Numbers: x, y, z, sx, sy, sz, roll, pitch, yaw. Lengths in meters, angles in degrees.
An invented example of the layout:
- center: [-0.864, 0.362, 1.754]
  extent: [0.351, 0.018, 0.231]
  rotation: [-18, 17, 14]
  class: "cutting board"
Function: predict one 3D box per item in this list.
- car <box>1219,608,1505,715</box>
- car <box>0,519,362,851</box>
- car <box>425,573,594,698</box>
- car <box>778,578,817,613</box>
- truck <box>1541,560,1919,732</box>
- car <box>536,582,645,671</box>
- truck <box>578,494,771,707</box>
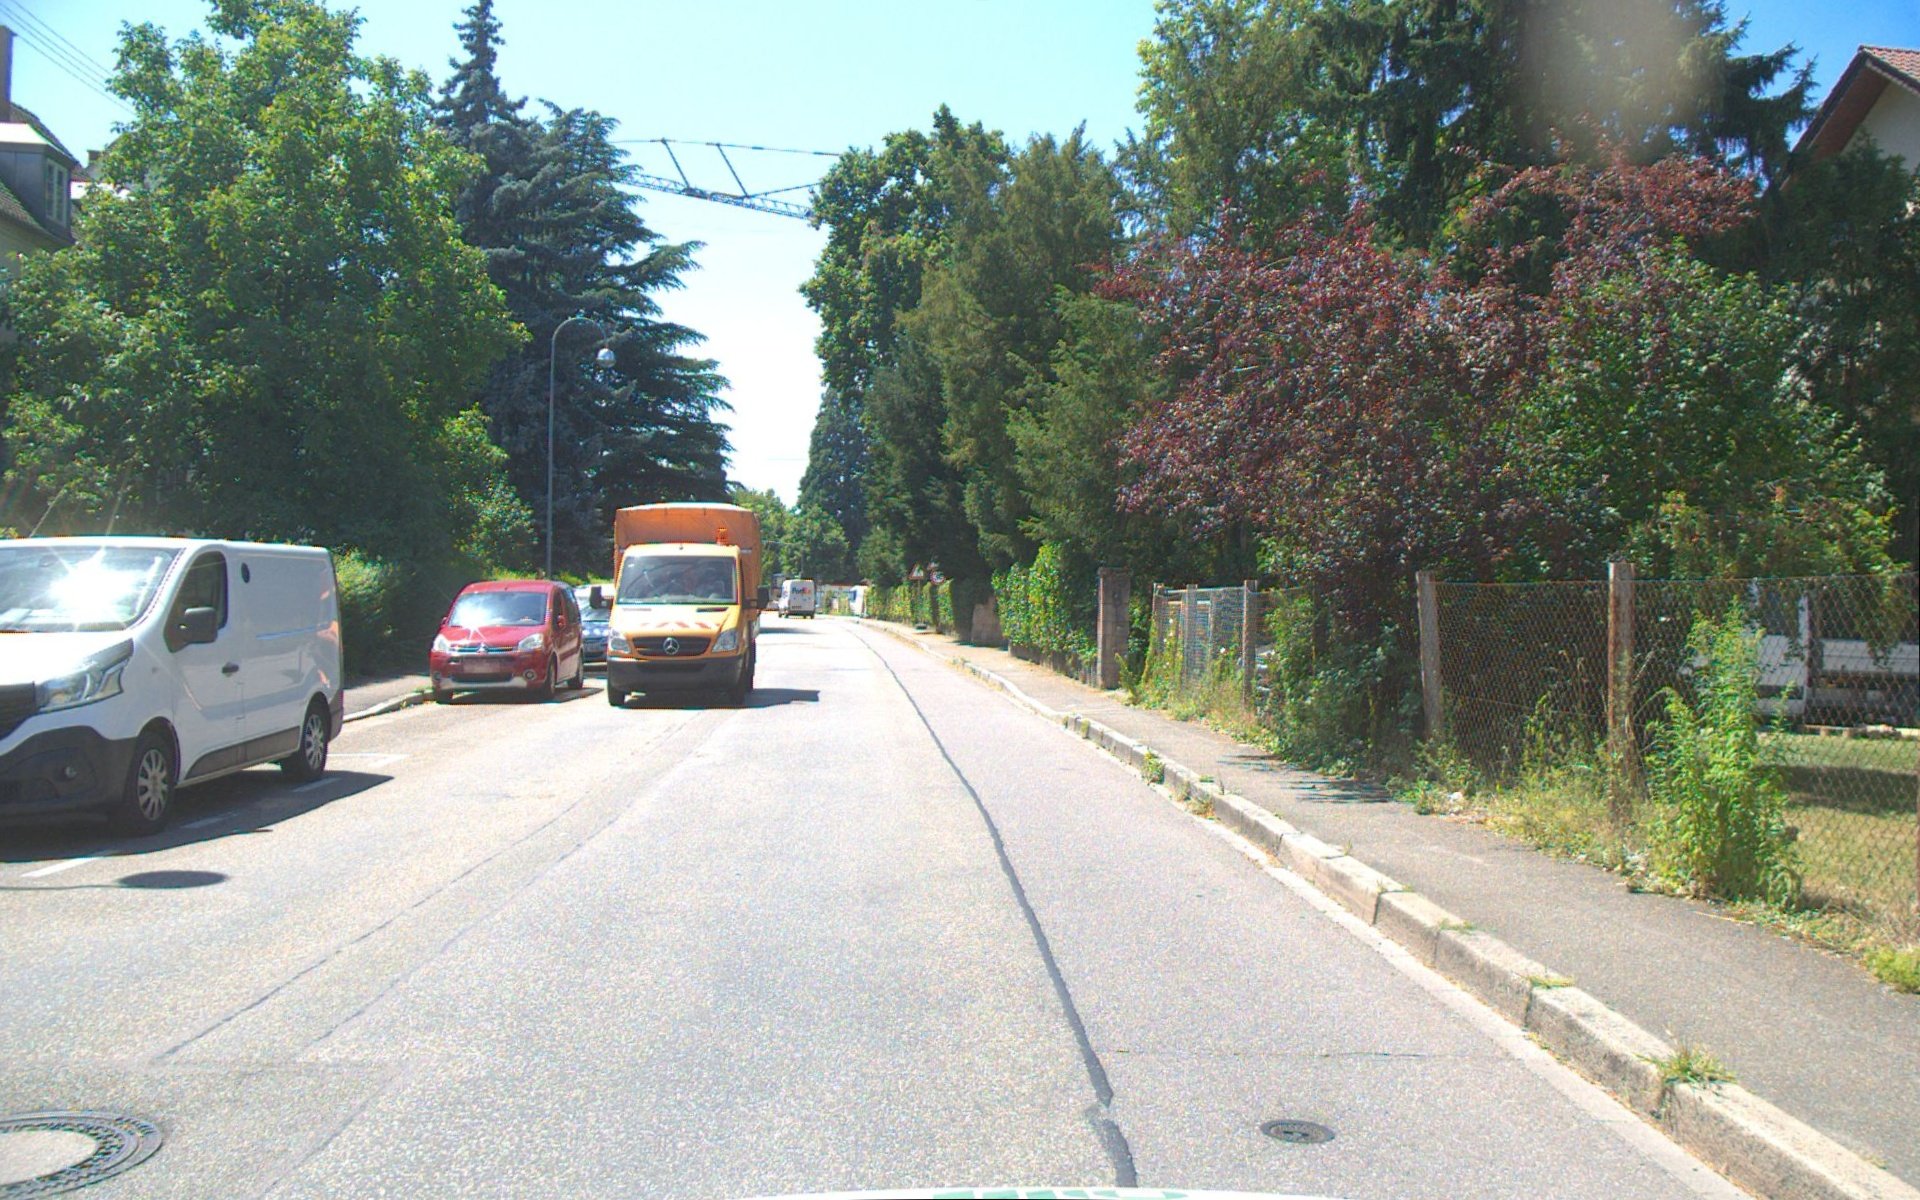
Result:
- center: [5.922, 0.889, 24.654]
  extent: [3.783, 1.404, 1.766]
  rotation: [2, 0, -2]
  class: "car"
- center: [-6.074, 0.509, 12.007]
  extent: [1.849, 1.914, 4.977]
  rotation: [1, -1, -3]
  class: "car"
- center: [-6.845, 0.497, 25.570]
  extent: [1.723, 1.757, 4.454]
  rotation: [0, 0, -5]
  class: "car"
- center: [-11.177, -0.309, 113.613]
  extent: [2.106, 2.356, 4.837]
  rotation: [0, 0, -12]
  class: "car"
- center: [12.401, 0.713, 25.078]
  extent: [6.485, 2.205, 1.976]
  rotation: [4, 1, -7]
  class: "truck"
- center: [-7.852, 0.537, 35.519]
  extent: [1.615, 1.782, 4.351]
  rotation: [0, 0, -4]
  class: "car"
- center: [-4.219, 0.016, 25.436]
  extent: [2.326, 2.879, 5.654]
  rotation: [1, 0, -4]
  class: "truck"
